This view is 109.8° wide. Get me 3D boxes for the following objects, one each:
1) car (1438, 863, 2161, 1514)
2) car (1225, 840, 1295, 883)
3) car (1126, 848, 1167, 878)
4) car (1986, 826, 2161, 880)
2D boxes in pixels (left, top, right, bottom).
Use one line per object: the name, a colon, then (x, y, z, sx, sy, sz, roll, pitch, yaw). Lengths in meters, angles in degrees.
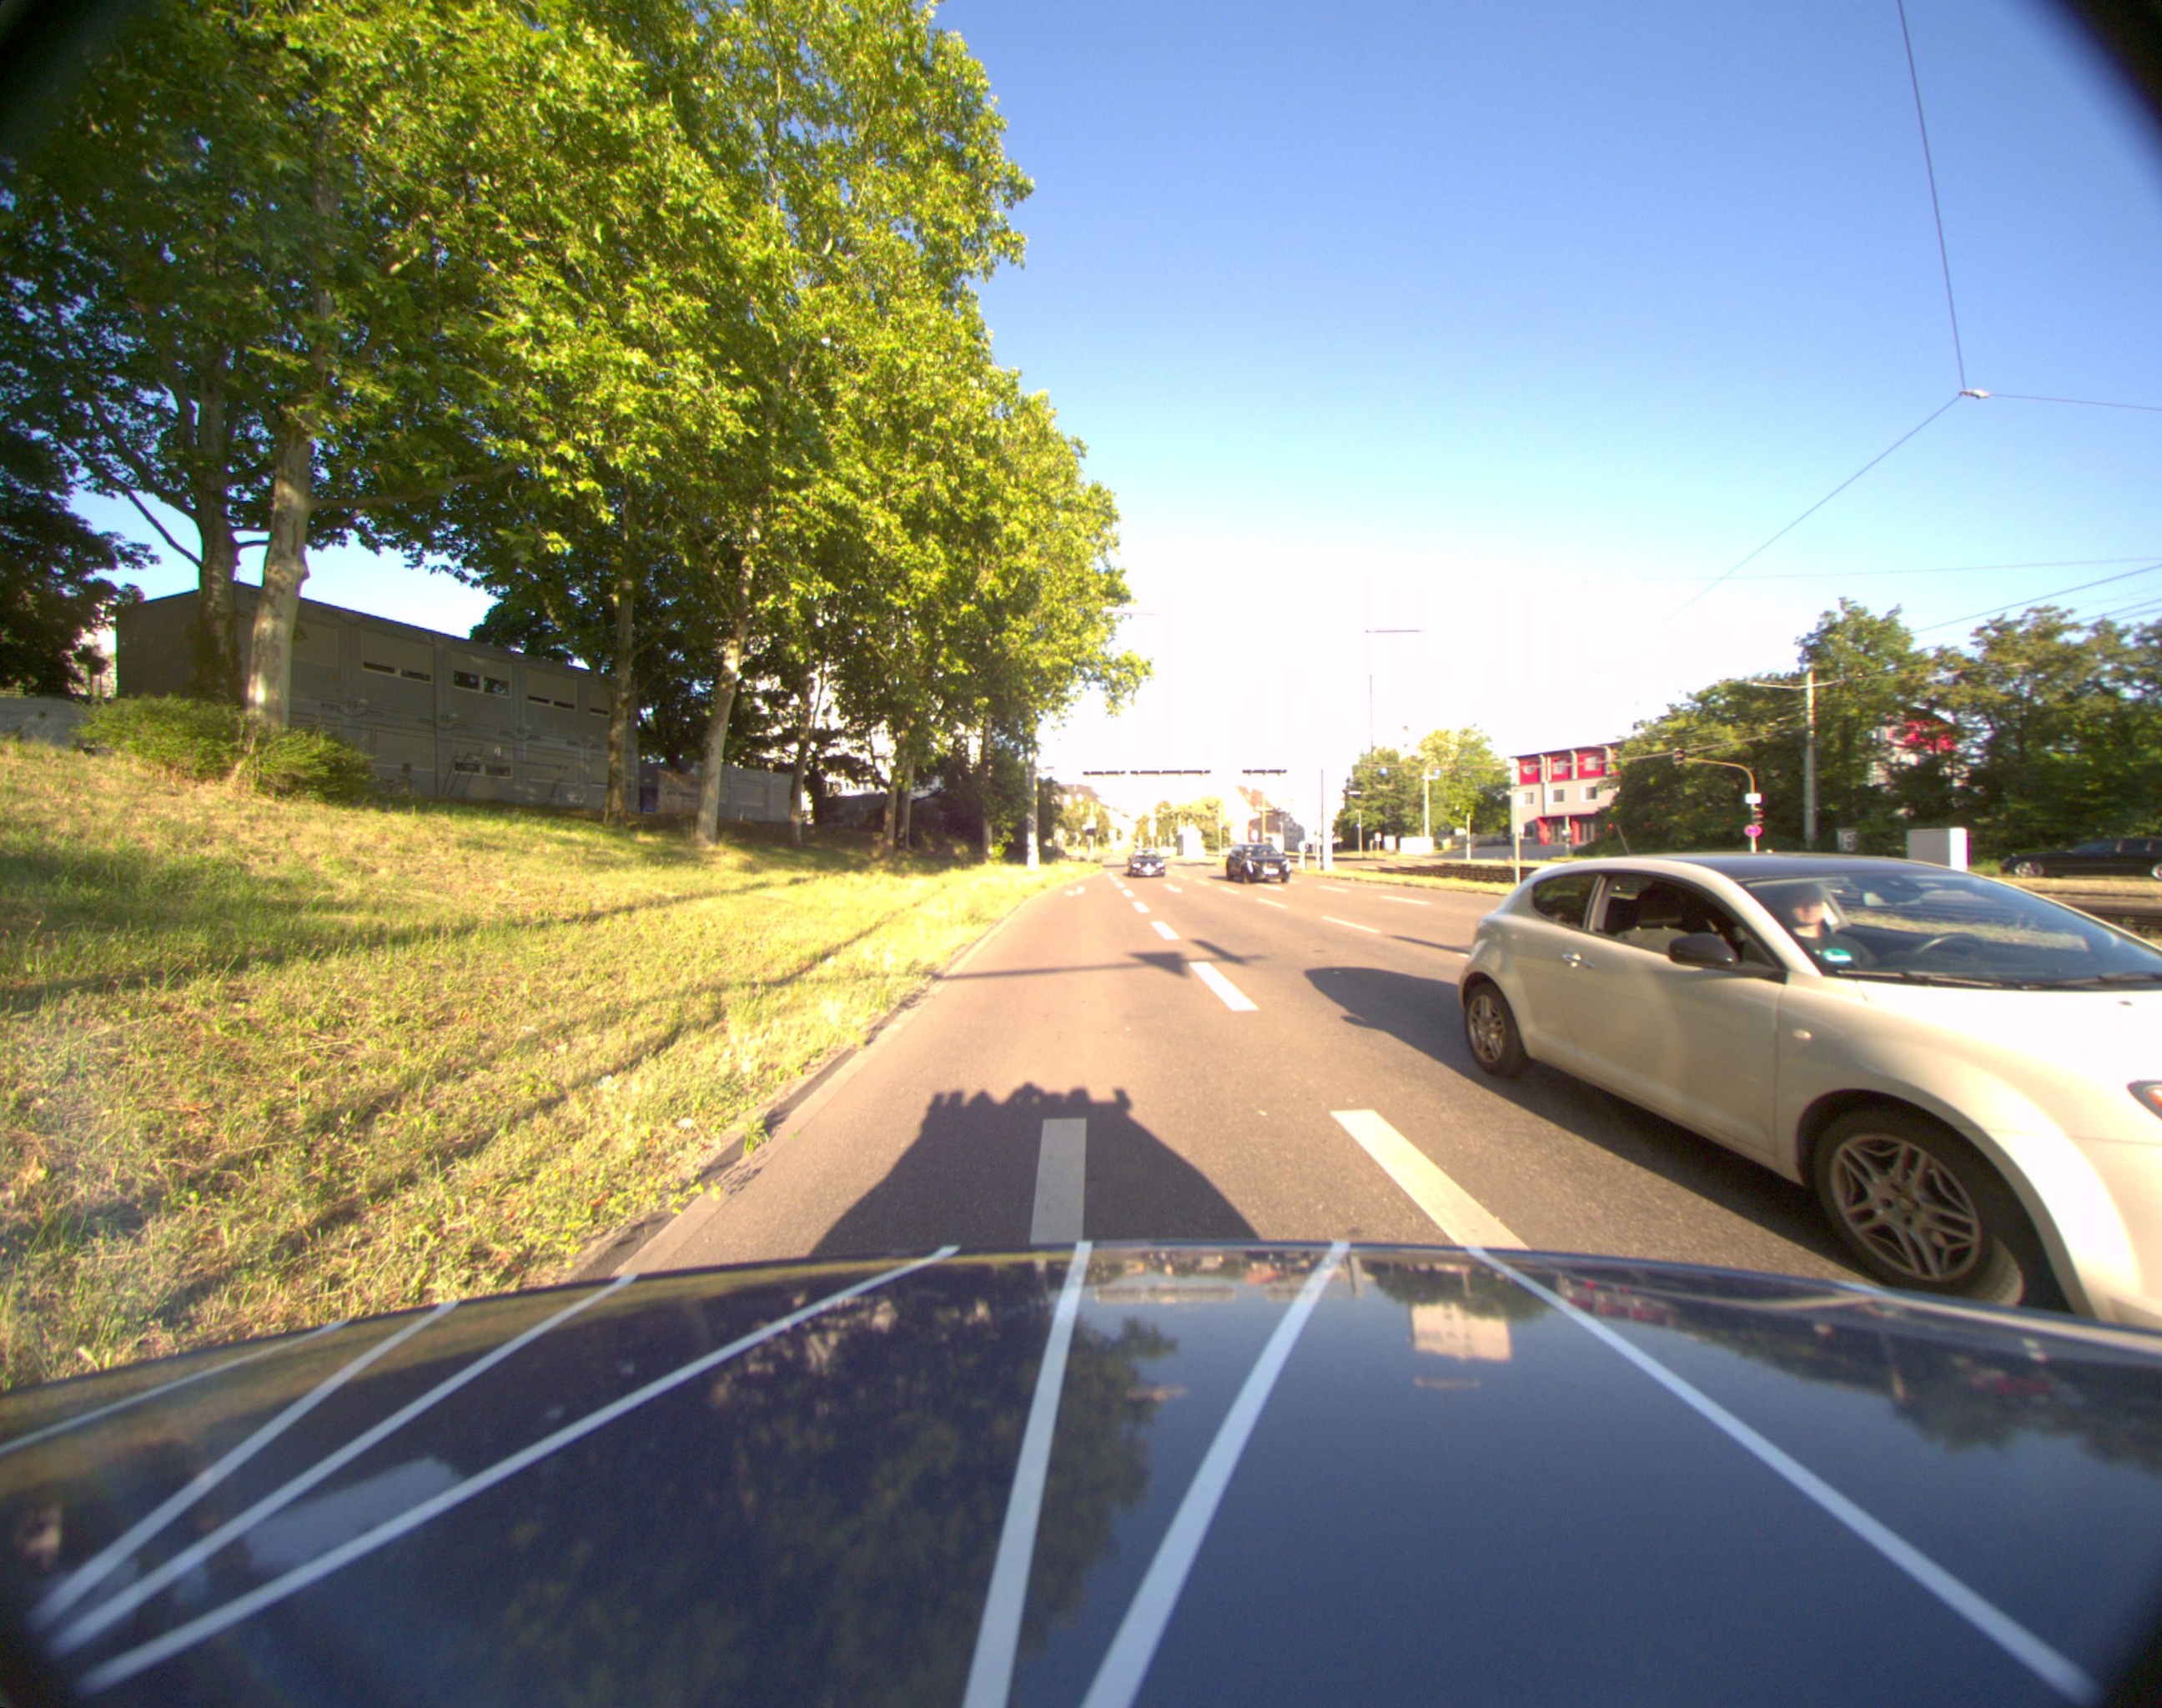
car: (3.449, 0.827, 3.454, 1.741, 1.496, 3.999, -1, 0, -1)
car: (7.371, 0.301, 31.692, 1.905, 1.652, 4.276, -1, 0, 1)
car: (3.374, 0.420, 39.749, 1.741, 1.429, 3.999, -2, 1, -1)
car: (33.758, -0.033, 25.063, 1.756, 1.669, 4.746, -2, 1, -26)
